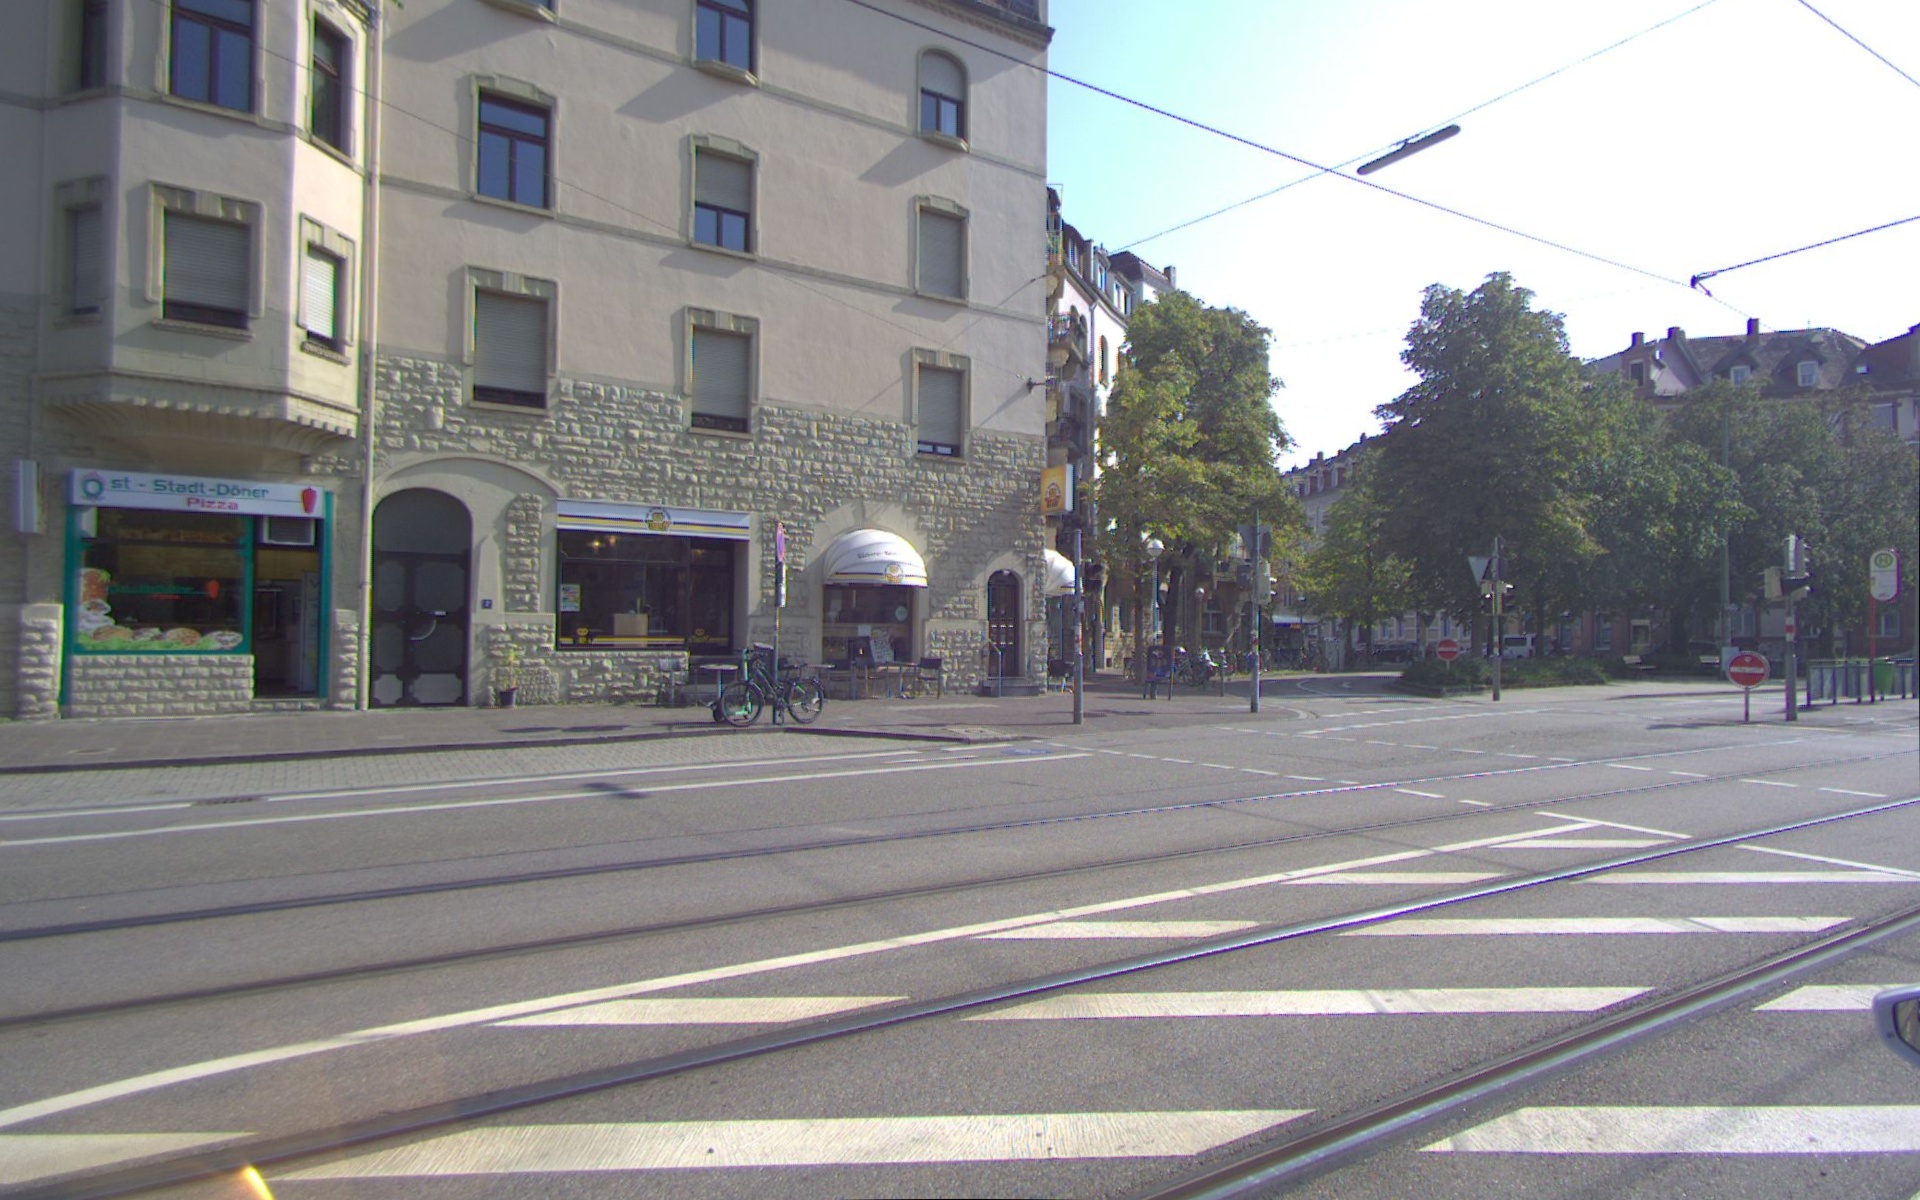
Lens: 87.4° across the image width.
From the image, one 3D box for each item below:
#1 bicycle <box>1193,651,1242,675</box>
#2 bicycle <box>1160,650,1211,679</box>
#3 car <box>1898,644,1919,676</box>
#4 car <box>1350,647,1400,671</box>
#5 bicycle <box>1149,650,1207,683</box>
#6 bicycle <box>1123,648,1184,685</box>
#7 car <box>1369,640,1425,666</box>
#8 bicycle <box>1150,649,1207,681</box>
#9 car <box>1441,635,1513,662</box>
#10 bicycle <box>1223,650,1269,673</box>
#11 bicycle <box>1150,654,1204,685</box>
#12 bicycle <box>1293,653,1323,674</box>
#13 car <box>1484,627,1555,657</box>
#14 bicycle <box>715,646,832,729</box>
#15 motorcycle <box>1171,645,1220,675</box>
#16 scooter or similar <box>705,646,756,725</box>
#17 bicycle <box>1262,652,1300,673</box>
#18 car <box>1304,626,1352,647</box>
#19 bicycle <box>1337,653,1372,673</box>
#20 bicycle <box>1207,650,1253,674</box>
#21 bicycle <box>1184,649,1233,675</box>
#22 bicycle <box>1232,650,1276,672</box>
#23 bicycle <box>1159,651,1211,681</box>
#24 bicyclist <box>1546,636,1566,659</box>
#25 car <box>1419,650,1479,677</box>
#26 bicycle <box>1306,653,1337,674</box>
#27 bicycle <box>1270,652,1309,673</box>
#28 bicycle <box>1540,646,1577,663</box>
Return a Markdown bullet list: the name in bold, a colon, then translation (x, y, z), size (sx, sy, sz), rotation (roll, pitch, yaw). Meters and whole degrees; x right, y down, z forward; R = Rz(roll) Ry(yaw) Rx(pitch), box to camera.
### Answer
- **bicycle**: translation (10.949, 2.667, 42.733), size (1.876, 0.947, 0.737), rotation (0, -2, 26)
- **bicycle**: translation (8.377, 2.384, 37.289), size (1.769, 0.996, 0.660), rotation (0, -2, 19)
- **car**: translation (48.621, 2.921, 48.635), size (4.256, 1.589, 1.998), rotation (-1, -2, 27)
- **car**: translation (33.599, 4.747, 81.475), size (1.963, 1.852, 3.995), rotation (1, -2, -9)
- **bicycle**: translation (7.224, 2.204, 33.313), size (1.840, 1.017, 0.570), rotation (1, -2, 6)
- **bicycle**: translation (6.256, 2.149, 32.533), size (1.844, 1.127, 0.569), rotation (1, -2, -10)
- **car**: translation (31.682, 3.835, 72.987), size (1.963, 1.852, 3.996), rotation (1, -2, -7)
- **bicycle**: translation (7.565, 2.255, 34.770), size (1.841, 1.047, 0.570), rotation (0, -2, 21)
- **car**: translation (32.828, 3.068, 63.883), size (1.963, 1.589, 4.332), rotation (1, -2, -7)
- **bicycle**: translation (12.810, 2.740, 44.990), size (1.865, 0.993, 0.685), rotation (0, -2, 26)
- **bicycle**: translation (6.881, 2.189, 31.872), size (1.577, 0.932, 0.479), rotation (1, -2, 0)
- **bicycle**: translation (17.176, 3.124, 49.577), size (1.750, 0.990, 0.422), rotation (1, -2, -32)
- **car**: translation (35.981, 2.699, 64.698), size (1.963, 1.852, 3.995), rotation (1, -2, -9)
- **bicycle**: translation (-2.905, 1.345, 15.802), size (1.842, 1.242, 0.449), rotation (2, -3, -41)
- **motorcycle**: translation (9.561, 2.433, 40.828), size (1.840, 1.169, 0.607), rotation (0, -2, 26)
- **scooter or similar**: translation (-3.642, 1.342, 16.025), size (0.359, 1.213, 1.035), rotation (0, -2, 13)
- **bicycle**: translation (16.031, 3.120, 50.167), size (1.742, 0.990, 0.518), rotation (-2, -3, 38)
- **car**: translation (32.304, 3.202, 88.303), size (1.968, 1.852, 3.986), rotation (1, -2, -17)
- **bicycle**: translation (20.336, 3.234, 51.825), size (0.596, 0.990, 1.761), rotation (1, -2, -23)
- **bicycle**: translation (11.833, 2.698, 43.985), size (1.865, 0.993, 0.685), rotation (0, -2, 26)
- **bicycle**: translation (10.297, 2.568, 41.635), size (1.843, 1.041, 0.663), rotation (0, -2, 26)
- **bicycle**: translation (13.555, 2.812, 46.364), size (1.851, 0.947, 0.635), rotation (-1, -3, 42)
- **bicycle**: translation (8.094, 2.361, 36.108), size (1.769, 0.997, 0.570), rotation (0, -2, 19)
- **bicyclist**: translation (35.354, 2.834, 59.602), size (0.542, 1.345, 0.815), rotation (1, -2, -29)
- **car**: translation (35.011, 4.545, 72.086), size (1.963, 1.852, 3.995), rotation (1, -2, -9)
- **bicycle**: translation (17.854, 3.136, 49.557), size (1.750, 0.990, 0.422), rotation (1, -2, -32)
- **bicycle**: translation (16.621, 3.138, 50.682), size (1.742, 0.990, 0.603), rotation (-2, -3, 37)
- **bicycle**: translation (35.410, 3.213, 59.475), size (0.542, 0.970, 1.842), rotation (1, -2, -30)
